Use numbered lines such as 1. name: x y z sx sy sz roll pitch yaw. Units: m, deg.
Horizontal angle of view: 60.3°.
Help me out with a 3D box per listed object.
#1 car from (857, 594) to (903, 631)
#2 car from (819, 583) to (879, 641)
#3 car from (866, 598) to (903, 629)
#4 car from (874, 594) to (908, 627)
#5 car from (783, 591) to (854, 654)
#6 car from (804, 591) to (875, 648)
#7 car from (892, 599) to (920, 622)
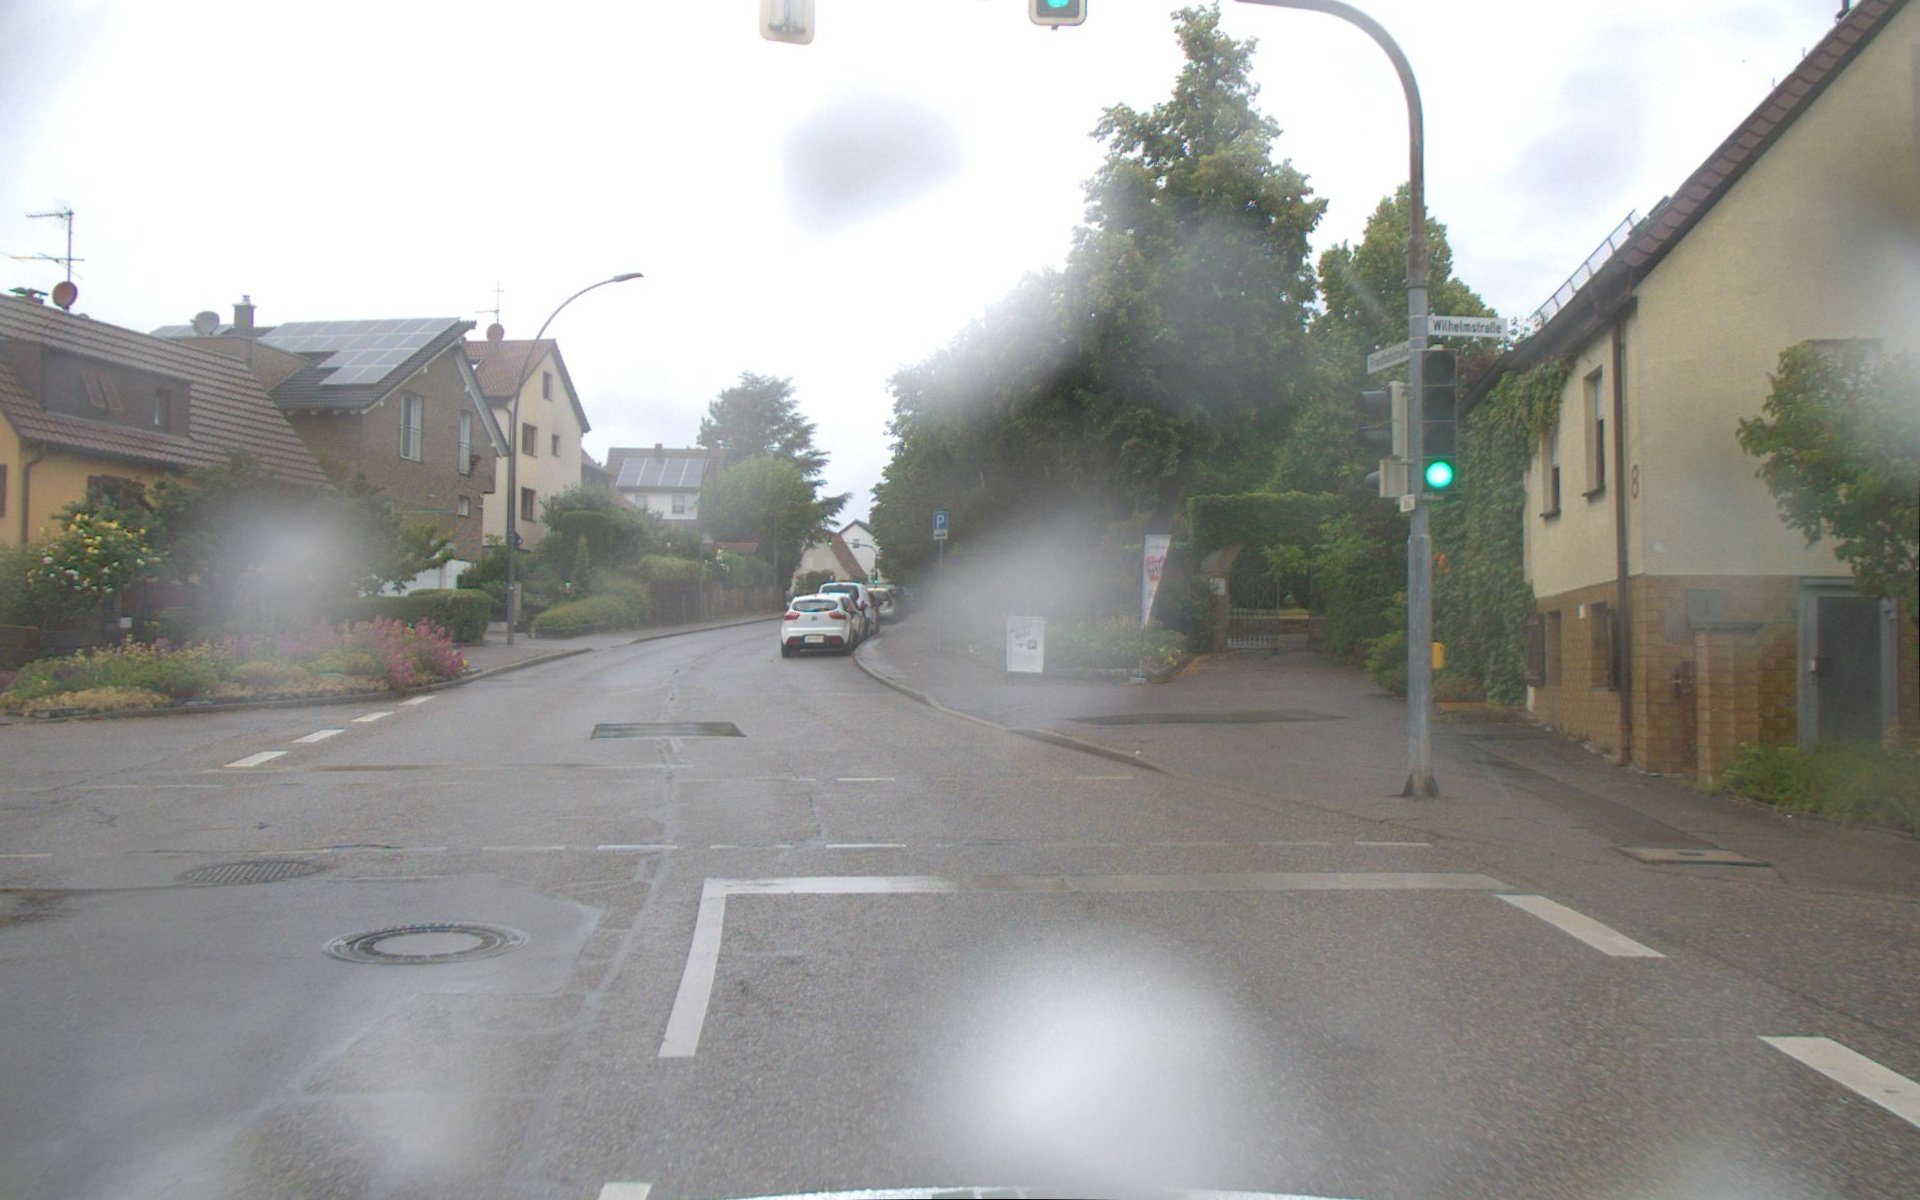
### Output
1. car: -3.596 0.568 74.676 1.777 1.601 3.881 0 -1 2
2. car: -3.503 0.368 52.761 1.603 1.771 4.136 0 0 1
3. car: -3.641 0.661 80.710 1.729 1.472 4.694 0 -1 -2
4. car: -3.625 0.546 87.151 1.707 1.697 4.495 0 -1 -2
5. car: -3.547 0.545 41.947 1.579 1.506 4.036 0 0 -2
6. car: -3.374 0.511 46.801 1.611 1.487 4.001 1 1 1
7. car: -3.287 0.628 100.880 1.618 1.395 4.180 0 0 -2
